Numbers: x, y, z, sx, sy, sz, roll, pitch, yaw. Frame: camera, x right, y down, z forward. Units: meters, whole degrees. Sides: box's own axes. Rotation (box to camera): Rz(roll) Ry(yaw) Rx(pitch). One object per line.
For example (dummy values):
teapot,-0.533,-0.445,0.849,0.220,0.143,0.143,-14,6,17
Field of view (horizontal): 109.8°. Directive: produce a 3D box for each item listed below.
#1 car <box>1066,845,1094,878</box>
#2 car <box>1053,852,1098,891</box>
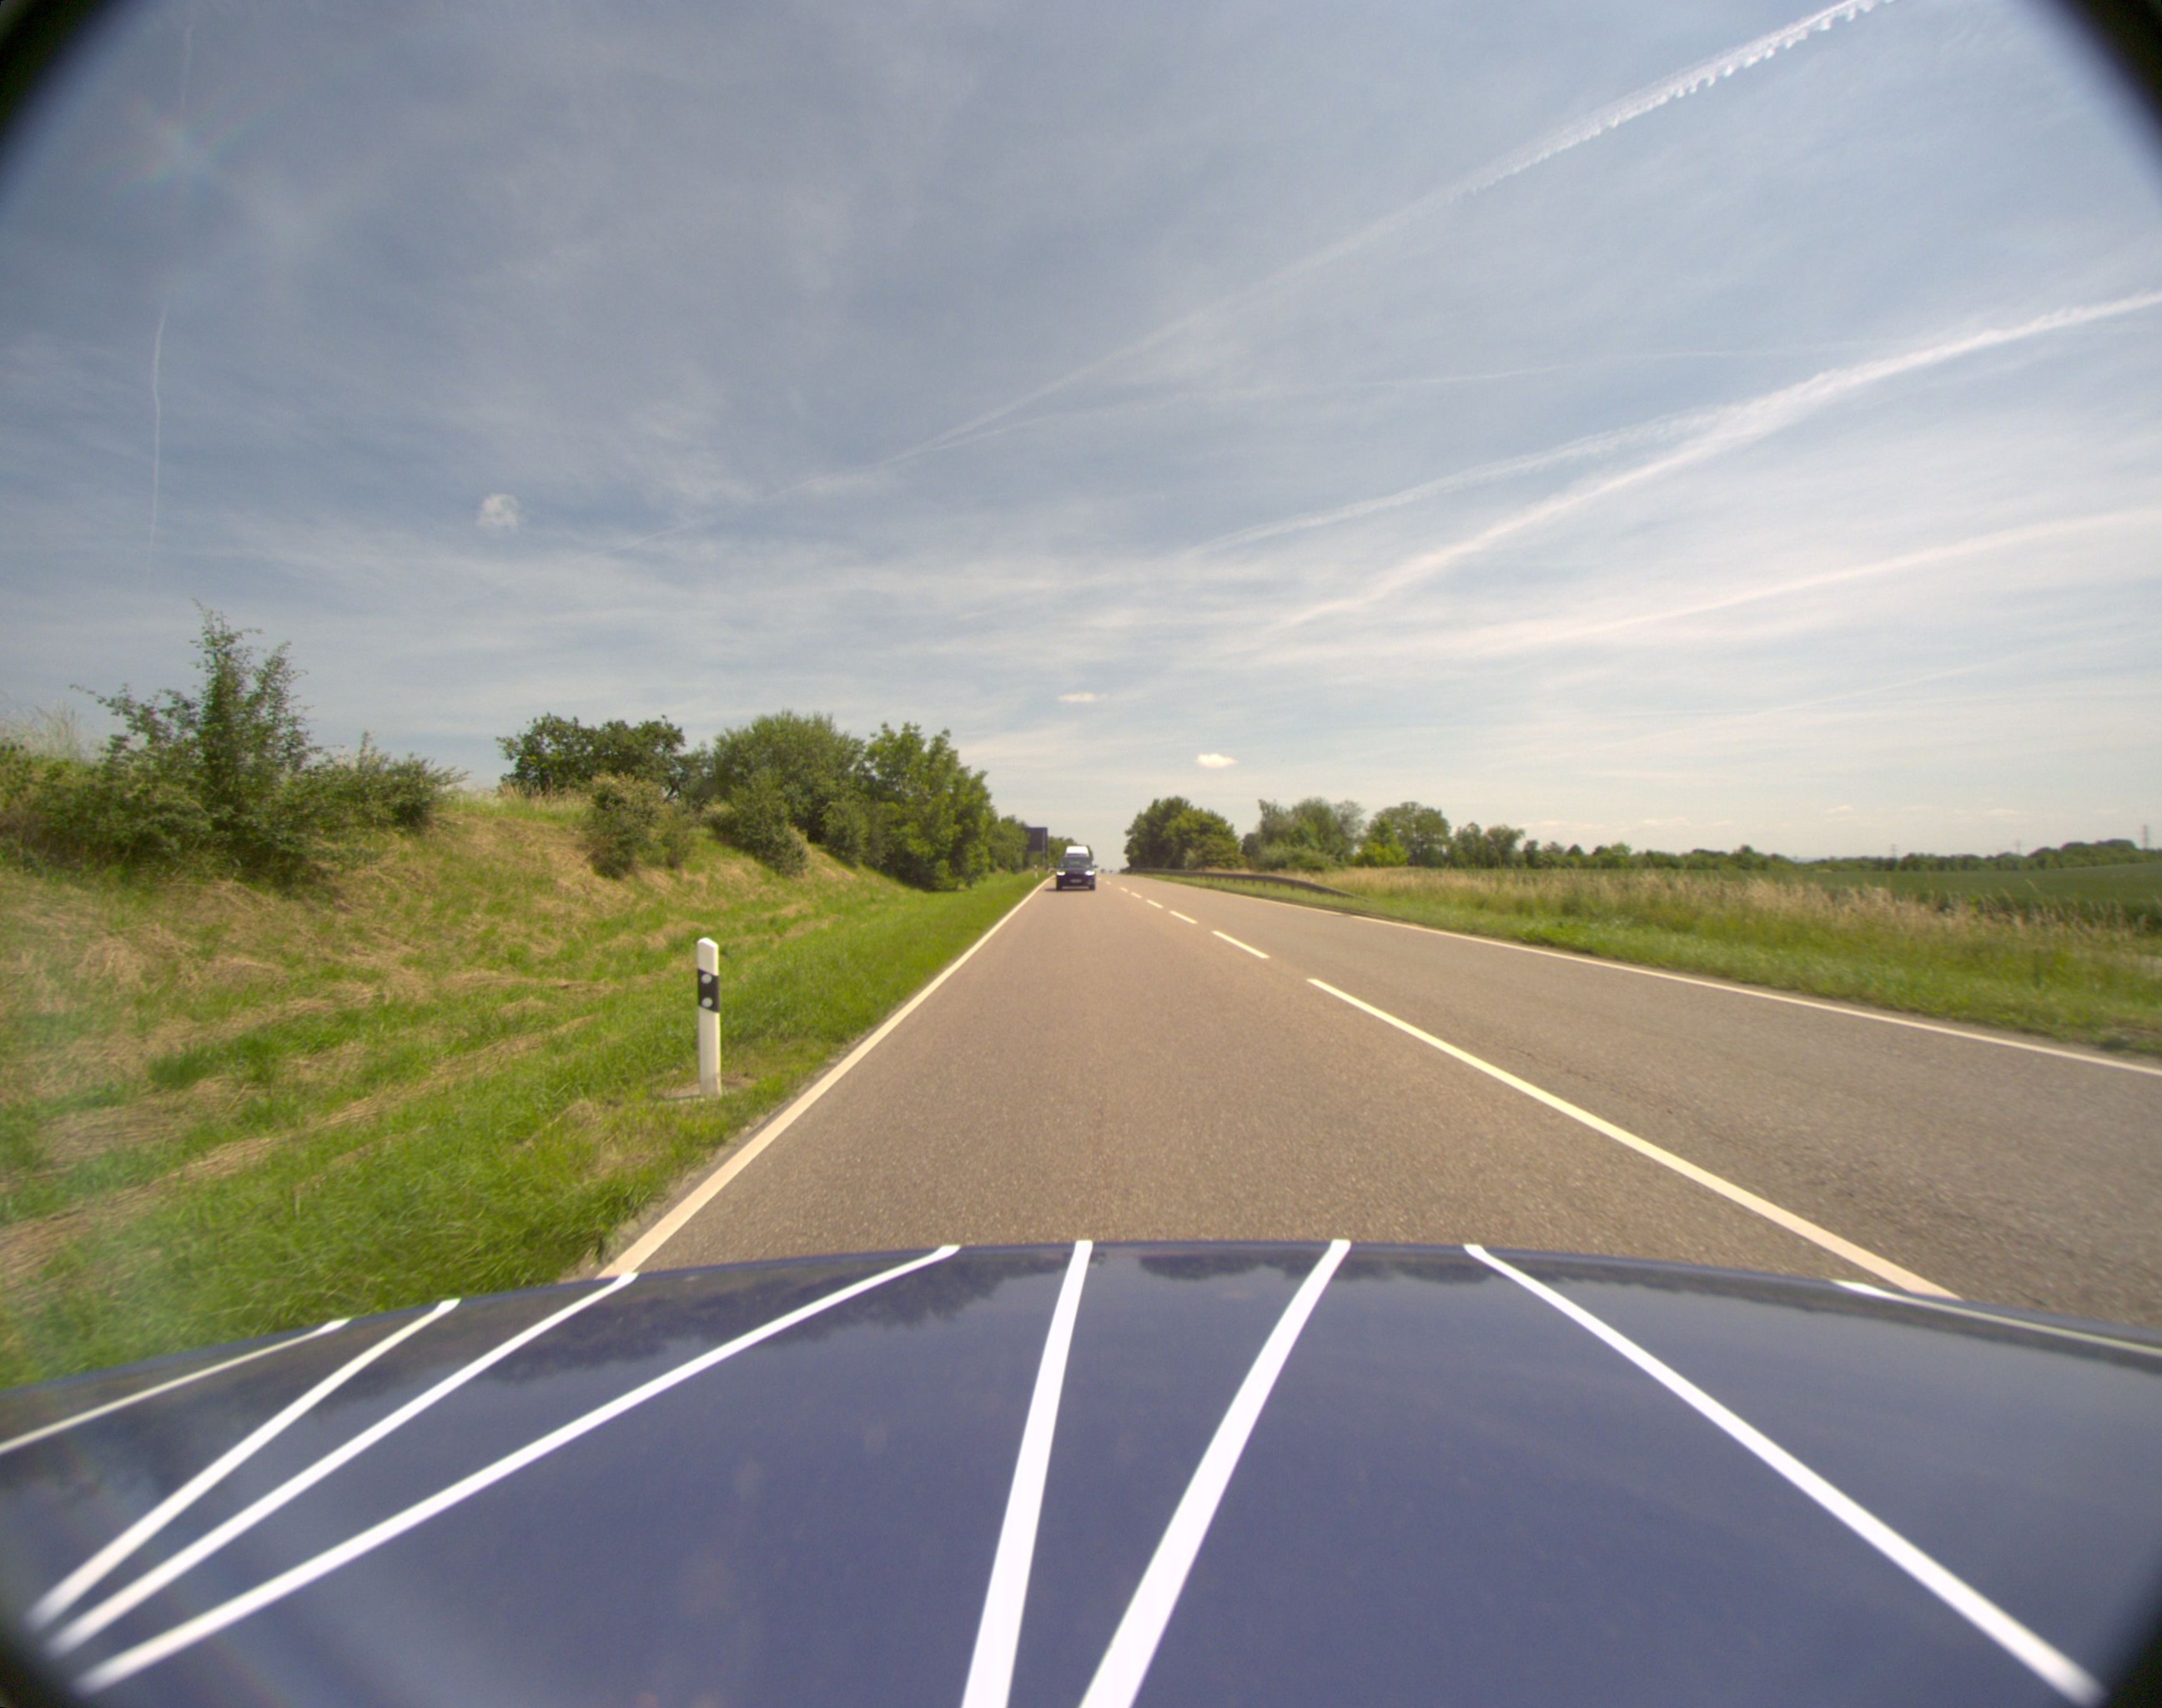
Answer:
car,-0.036,0.579,63.278,2.226,2.617,5.752,-1,0,1
car,-0.229,0.793,37.598,2.039,1.691,5.512,-1,0,1
